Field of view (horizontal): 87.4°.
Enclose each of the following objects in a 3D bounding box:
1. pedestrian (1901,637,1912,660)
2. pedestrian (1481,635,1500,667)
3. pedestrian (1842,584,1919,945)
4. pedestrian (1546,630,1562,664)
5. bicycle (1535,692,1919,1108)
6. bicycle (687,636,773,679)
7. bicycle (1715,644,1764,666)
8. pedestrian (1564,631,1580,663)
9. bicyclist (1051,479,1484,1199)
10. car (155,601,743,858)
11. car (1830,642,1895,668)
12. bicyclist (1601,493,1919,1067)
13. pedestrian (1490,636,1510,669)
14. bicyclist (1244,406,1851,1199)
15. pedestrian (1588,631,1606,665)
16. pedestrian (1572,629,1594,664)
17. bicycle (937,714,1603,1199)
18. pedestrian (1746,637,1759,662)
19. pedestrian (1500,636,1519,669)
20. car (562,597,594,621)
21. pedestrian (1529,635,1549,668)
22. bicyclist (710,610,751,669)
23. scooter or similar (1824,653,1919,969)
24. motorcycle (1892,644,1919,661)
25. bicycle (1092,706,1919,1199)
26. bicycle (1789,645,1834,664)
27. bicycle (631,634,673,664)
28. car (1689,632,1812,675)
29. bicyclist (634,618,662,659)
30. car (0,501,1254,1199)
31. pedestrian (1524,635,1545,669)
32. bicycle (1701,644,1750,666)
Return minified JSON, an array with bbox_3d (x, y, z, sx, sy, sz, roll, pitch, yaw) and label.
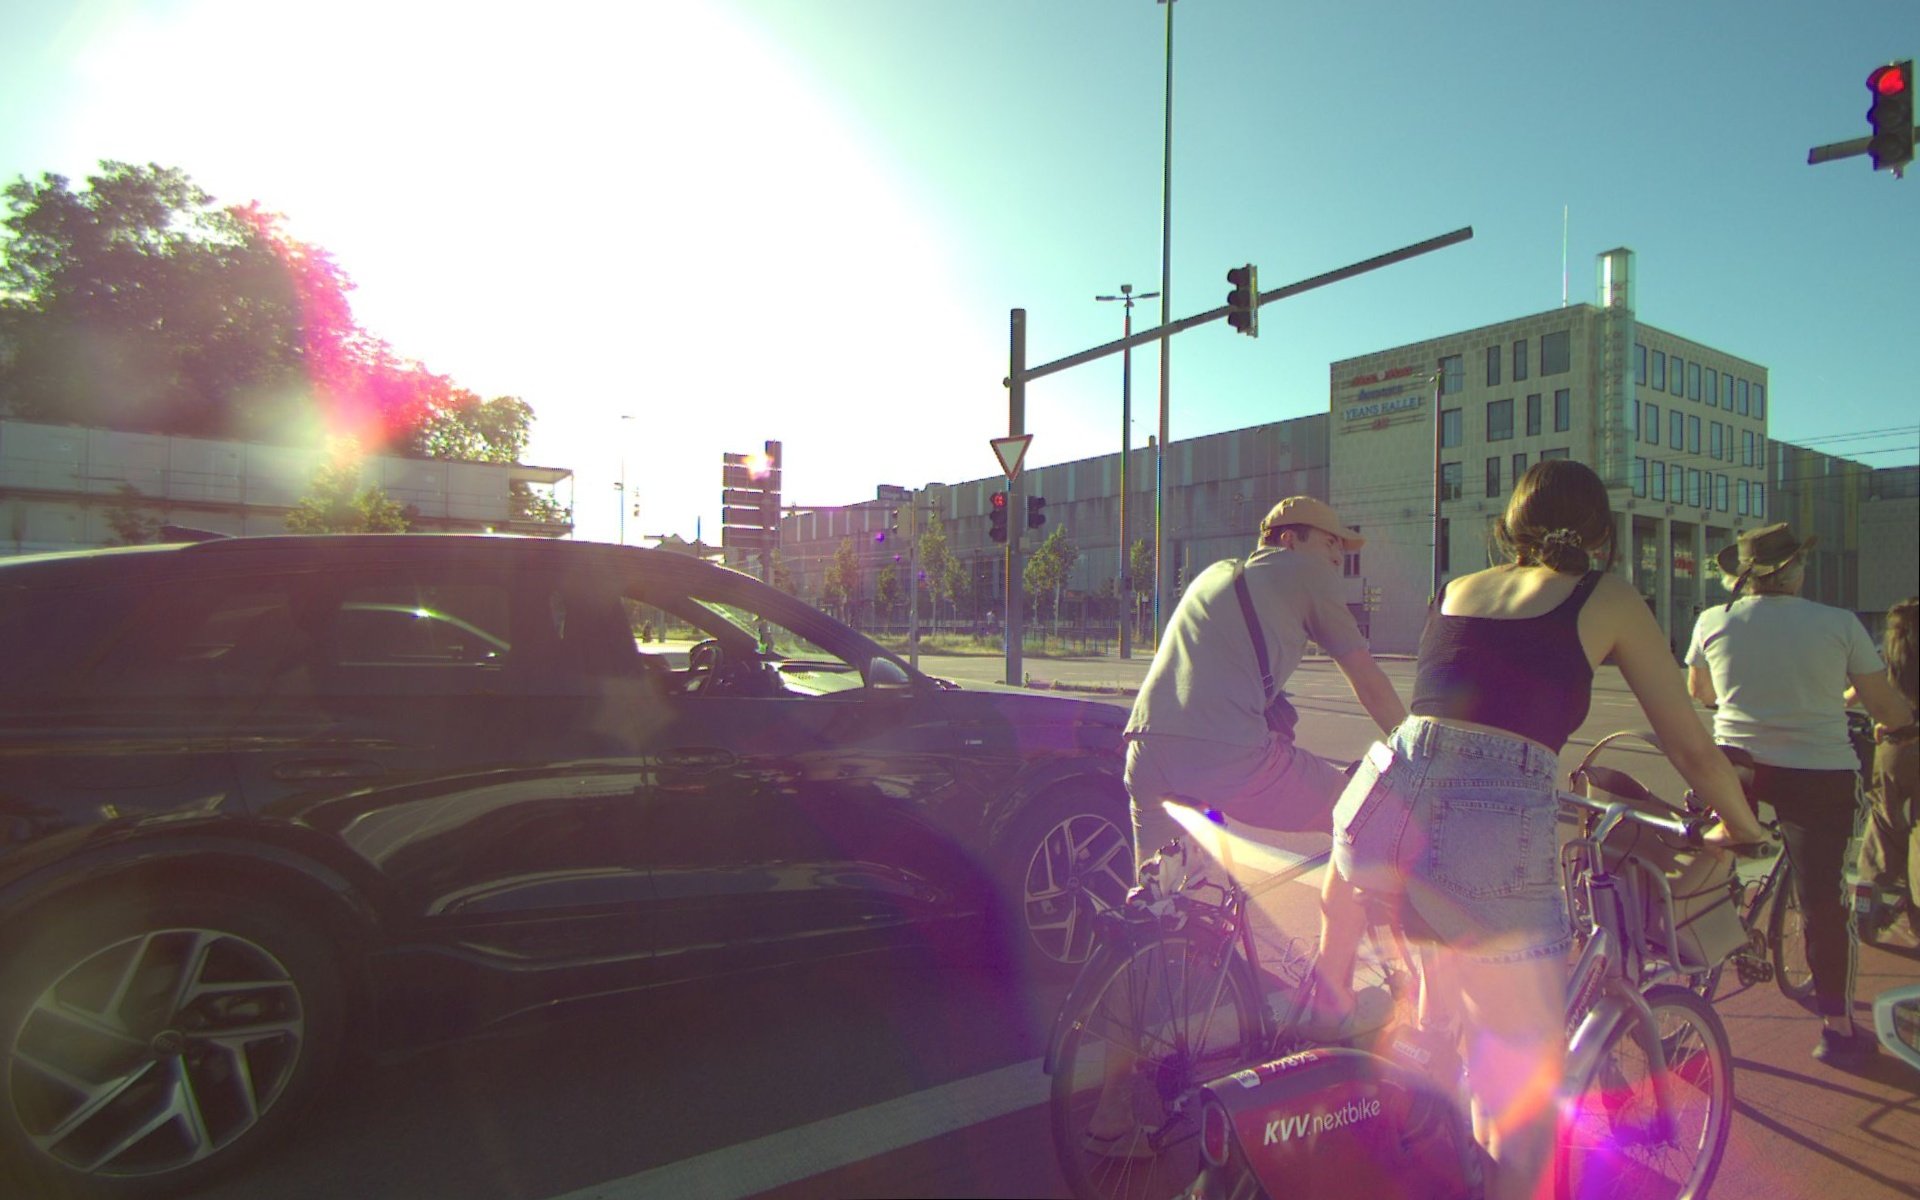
[{"bbox_3d":[71.095,3.669,75.458,0.579,1.702,0.516,1,1,-43],"label":"pedestrian"},{"bbox_3d":[32.402,3.114,61.375,0.710,1.910,0.779,2,0,-36],"label":"pedestrian"},{"bbox_3d":[4.632,0.762,4.808,0.568,1.654,0.543,2,0,-45],"label":"pedestrian"},{"bbox_3d":[34.242,2.677,57.911,0.705,1.910,0.785,2,0,33],"label":"pedestrian"},{"bbox_3d":[2.878,0.961,3.682,1.810,1.171,0.482,2,0,-31],"label":"bicycle"},{"bbox_3d":[-8.290,2.038,36.211,2.905,1.388,0.970,2,0,16],"label":"bicycle"},{"bbox_3d":[46.962,3.328,60.530,0.605,1.238,2.295,1,-1,-31],"label":"bicycle"},{"bbox_3d":[35.628,2.732,58.427,0.784,1.868,0.862,0,-1,32],"label":"pedestrian"},{"bbox_3d":[0.802,0.559,2.676,0.833,1.627,0.712,1,0,-32],"label":"bicyclist"},{"bbox_3d":[-3.587,0.791,7.498,3.562,1.505,1.485,1,0,-30],"label":"car"},{"bbox_3d":[49.781,3.062,55.412,3.956,1.359,1.621,2,-4,-32],"label":"car"},{"bbox_3d":[2.868,0.556,3.555,0.856,1.743,0.657,2,0,-30],"label":"bicyclist"},{"bbox_3d":[32.160,3.132,59.870,0.710,1.910,0.779,2,0,-36],"label":"pedestrian"},{"bbox_3d":[1.086,0.539,1.882,0.866,1.600,0.638,1,0,-33],"label":"bicyclist"},{"bbox_3d":[35.871,2.696,56.586,0.784,1.868,0.863,0,-1,28],"label":"pedestrian"},{"bbox_3d":[36.606,2.713,59.003,0.767,2.040,0.876,2,0,-41],"label":"pedestrian"},{"bbox_3d":[0.939,0.953,2.772,1.949,1.124,0.643,1,0,-33],"label":"bicycle"},{"bbox_3d":[54.445,3.402,69.011,0.639,1.742,0.449,0,-1,37],"label":"pedestrian"},{"bbox_3d":[33.222,3.168,60.692,0.780,1.910,0.709,2,0,-37],"label":"pedestrian"},{"bbox_3d":[-32.939,0.740,86.514,1.785,1.908,3.964,2,0,-33],"label":"car"},{"bbox_3d":[34.405,3.046,59.691,0.710,1.910,0.779,2,0,-36],"label":"pedestrian"},{"bbox_3d":[-8.271,1.403,36.212,1.078,2.040,0.961,2,0,15],"label":"bicyclist"},{"bbox_3d":[4.491,0.925,4.716,1.186,1.311,0.541,2,0,-45],"label":"scooter or similar"},{"bbox_3d":[70.737,3.905,74.858,0.508,1.223,1.786,1,0,-44],"label":"motorcycle"},{"bbox_3d":[1.146,0.886,1.923,1.811,1.234,0.612,1,0,-33],"label":"bicycle"},{"bbox_3d":[58.850,3.733,69.431,0.605,1.238,2.295,1,-1,-31],"label":"bicycle"},{"bbox_3d":[-16.063,2.545,52.323,0.962,1.388,2.930,2,0,-40],"label":"bicycle"},{"bbox_3d":[34.169,2.266,43.480,1.643,1.606,3.871,2,0,-36],"label":"car"},{"bbox_3d":[-16.362,2.010,52.673,0.985,2.040,1.088,2,0,-40],"label":"bicyclist"},{"bbox_3d":[-1.155,0.633,3.872,4.630,1.656,1.760,1,0,-32],"label":"car"},{"bbox_3d":[33.395,3.009,58.379,0.710,1.910,0.779,2,0,-36],"label":"pedestrian"},{"bbox_3d":[45.761,3.289,60.085,0.605,1.238,2.295,1,-1,-31],"label":"bicycle"}]
